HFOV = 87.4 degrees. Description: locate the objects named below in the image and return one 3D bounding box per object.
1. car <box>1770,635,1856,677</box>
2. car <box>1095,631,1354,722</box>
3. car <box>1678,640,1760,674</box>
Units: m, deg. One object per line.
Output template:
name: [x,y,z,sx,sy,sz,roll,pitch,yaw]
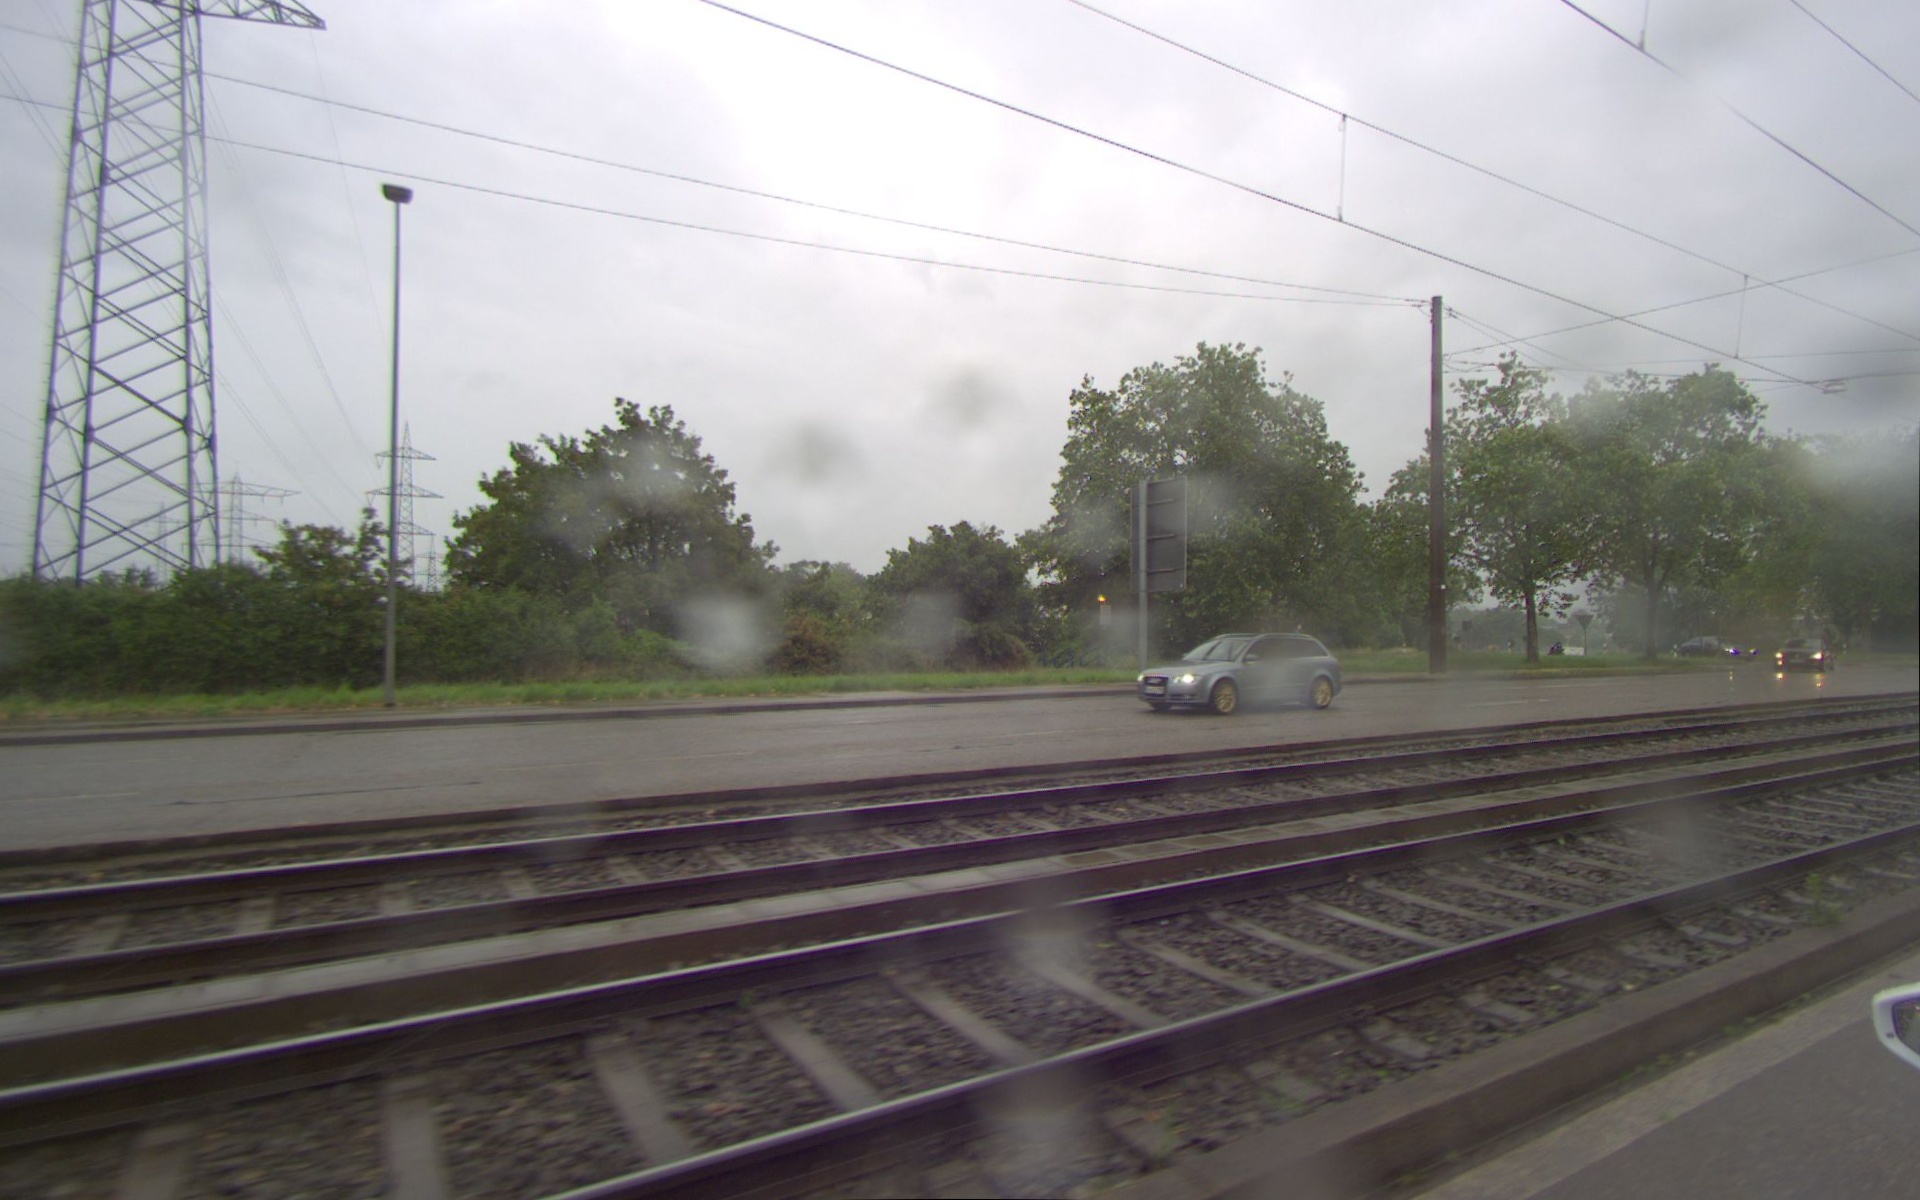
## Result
car: [35.998,2.329,42.371,3.956,1.573,1.679,0,1,-32]
car: [5.040,1.342,18.840,5.014,1.381,1.748,0,1,-32]
car: [45.578,3.401,60.438,1.810,1.709,4.652,0,0,7]
